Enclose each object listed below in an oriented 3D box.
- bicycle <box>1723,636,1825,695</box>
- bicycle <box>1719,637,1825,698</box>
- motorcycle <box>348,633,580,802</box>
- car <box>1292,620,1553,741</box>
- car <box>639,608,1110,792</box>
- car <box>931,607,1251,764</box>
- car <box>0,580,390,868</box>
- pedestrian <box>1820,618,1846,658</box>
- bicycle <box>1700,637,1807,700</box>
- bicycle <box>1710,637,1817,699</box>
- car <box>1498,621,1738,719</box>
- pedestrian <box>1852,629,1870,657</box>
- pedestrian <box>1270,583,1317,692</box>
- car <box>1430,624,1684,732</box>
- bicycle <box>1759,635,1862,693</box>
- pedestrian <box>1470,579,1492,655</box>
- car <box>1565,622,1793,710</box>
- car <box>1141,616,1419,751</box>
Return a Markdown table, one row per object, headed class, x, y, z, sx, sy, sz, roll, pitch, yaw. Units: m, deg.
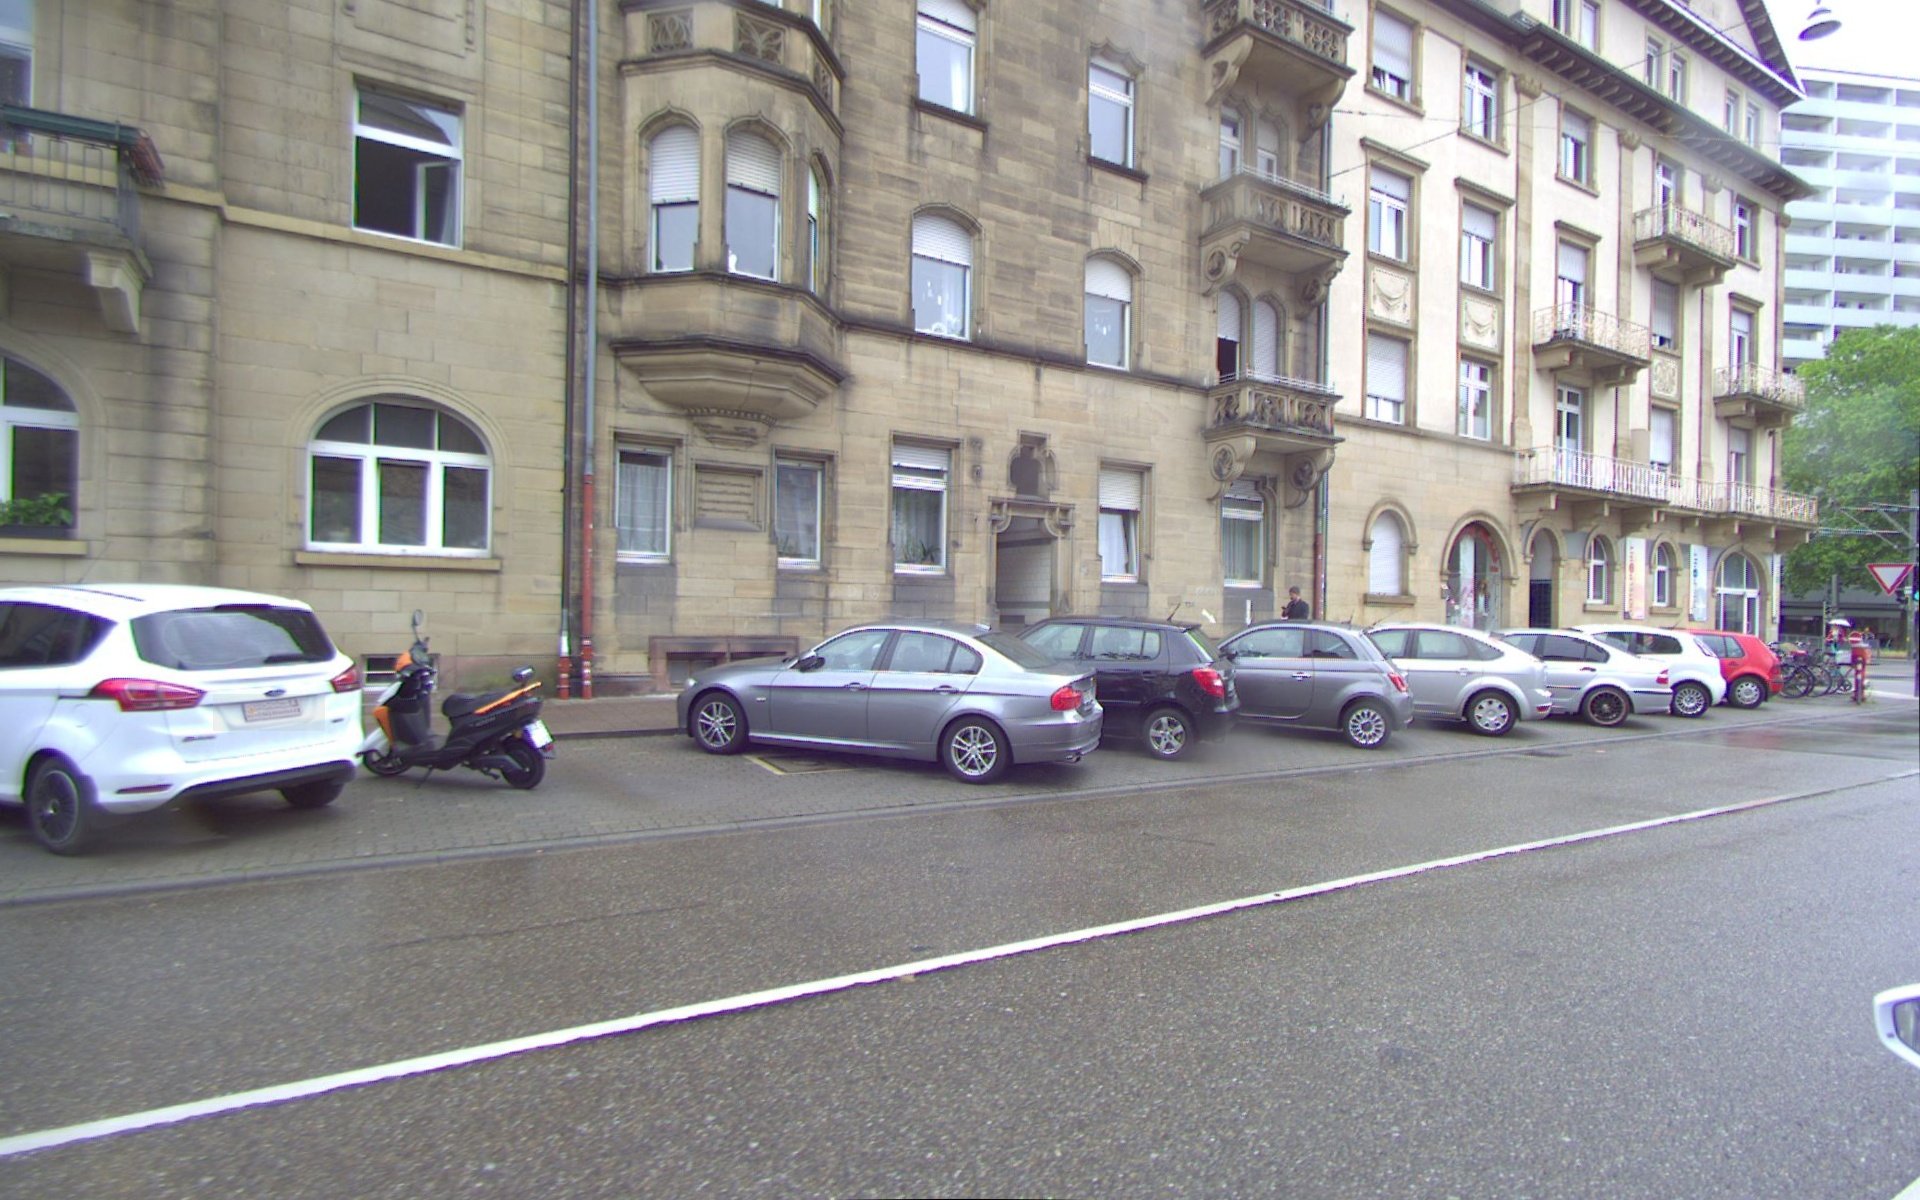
| class | x | y | z | sx | sy | sz | roll | pitch | yaw |
| --- | --- | --- | --- | --- | --- | --- | --- | --- | --- |
| bicycle | 18.972 | 1.501 | 23.455 | 0.601 | 1.283 | 1.754 | 1 | -1 | -31 |
| bicycle | 18.267 | 1.491 | 22.635 | 0.492 | 1.283 | 1.801 | 1 | -1 | -31 |
| motorcycle | -4.093 | 0.912 | 8.264 | 1.837 | 1.177 | 0.634 | 3 | 0 | 24 |
| car | 6.757 | 1.117 | 14.974 | 3.337 | 1.578 | 1.705 | 0 | -1 | 21 |
| car | -0.836 | 0.899 | 10.219 | 4.457 | 1.565 | 1.689 | 0 | -1 | 17 |
| car | 1.581 | 0.920 | 11.970 | 3.484 | 1.619 | 1.605 | 0 | -1 | 21 |
| car | -6.266 | 0.701 | 7.029 | 3.964 | 1.576 | 1.799 | 0 | -1 | 20 |
| pedestrian | 40.602 | 1.778 | 46.723 | 0.683 | 1.850 | 0.618 | 1 | -1 | -17 |
| bicycle | 17.277 | 1.462 | 21.912 | 0.516 | 1.283 | 1.754 | 1 | -1 | -31 |
| bicycle | 17.733 | 1.466 | 22.204 | 0.492 | 1.283 | 1.801 | 1 | -1 | -31 |
| car | 11.740 | 1.200 | 18.177 | 3.337 | 1.578 | 1.705 | 0 | -1 | 21 |
| pedestrian | 49.477 | 2.364 | 55.166 | 0.631 | 1.550 | 0.443 | 1 | -1 | -4 |
| pedestrian | 6.359 | 0.709 | 19.157 | 0.647 | 2.040 | 0.565 | 1 | -1 | -30 |
| car | 9.628 | 1.210 | 16.505 | 3.337 | 1.578 | 1.705 | 0 | -1 | 21 |
| bicycle | 19.913 | 1.481 | 23.553 | 0.601 | 1.283 | 1.754 | 1 | -1 | -31 |
| pedestrian | 12.879 | 0.419 | 24.838 | 0.343 | 1.846 | 0.364 | 2 | -2 | -32 |
| car | 14.097 | 1.252 | 19.912 | 3.337 | 1.578 | 1.705 | 0 | -1 | 21 |
| car | 4.254 | 1.036 | 13.461 | 3.337 | 1.578 | 1.652 | 0 | -1 | 21 |
